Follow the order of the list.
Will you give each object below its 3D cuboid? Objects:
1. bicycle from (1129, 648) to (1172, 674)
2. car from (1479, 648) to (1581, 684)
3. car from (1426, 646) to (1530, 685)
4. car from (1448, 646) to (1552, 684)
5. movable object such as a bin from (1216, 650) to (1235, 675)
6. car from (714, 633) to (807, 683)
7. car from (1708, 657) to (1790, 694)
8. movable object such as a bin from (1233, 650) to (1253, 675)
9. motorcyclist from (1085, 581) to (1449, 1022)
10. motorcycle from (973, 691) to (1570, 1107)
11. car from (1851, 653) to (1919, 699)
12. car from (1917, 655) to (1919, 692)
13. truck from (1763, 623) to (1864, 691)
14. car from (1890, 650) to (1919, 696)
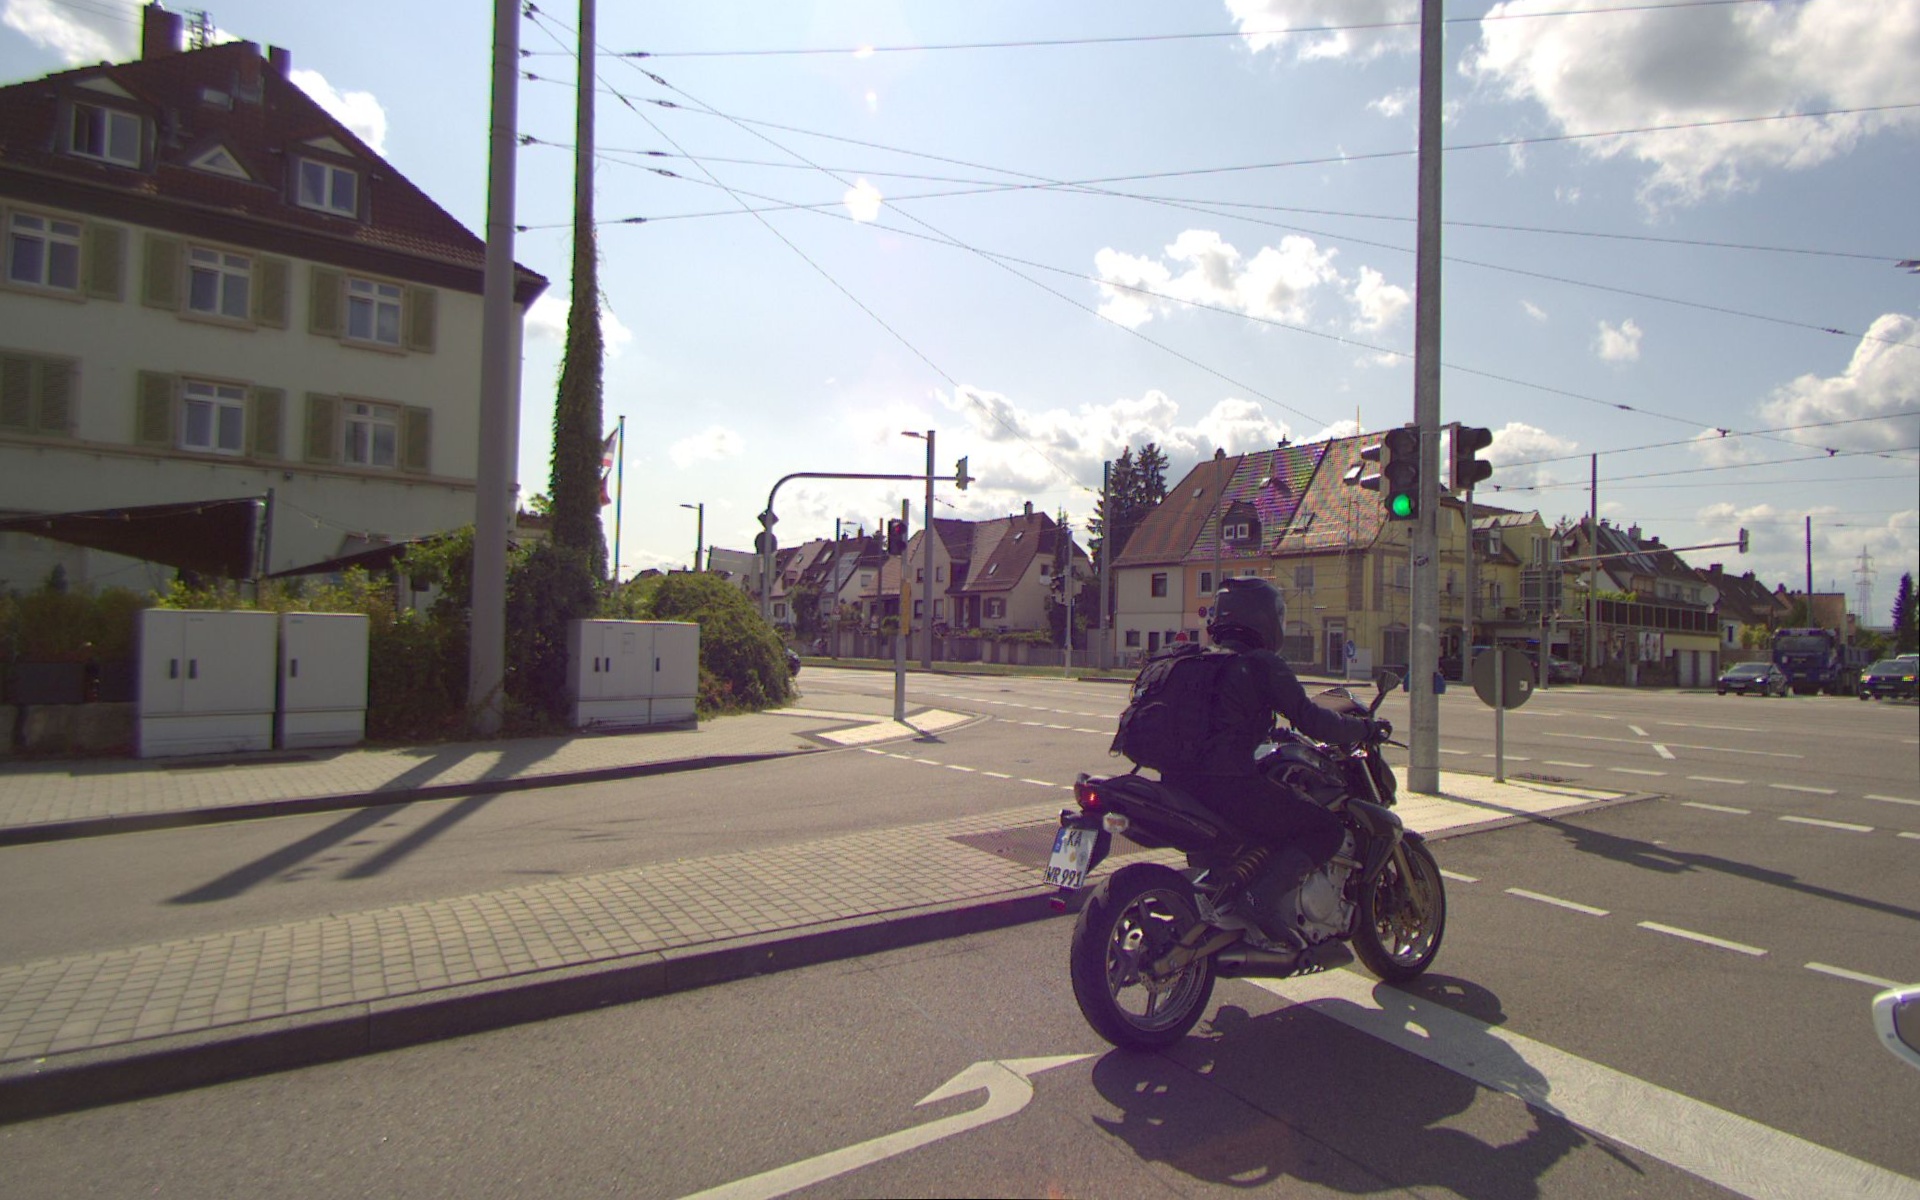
[{"bbox_3d":[10.671,3.425,56.176,2.430,1.373,0.770,2,-1,-31],"label":"bicycle"},{"bbox_3d":[27.926,3.204,49.328,1.423,1.513,4.101,3,-1,-39],"label":"car"},{"bbox_3d":[23.674,2.967,46.064,1.169,1.513,4.101,3,-1,-39],"label":"car"},{"bbox_3d":[25.679,3.067,47.866,1.494,1.513,4.101,3,-1,-39],"label":"car"},{"bbox_3d":[13.651,3.215,51.654,0.675,1.277,0.677,2,-1,-35],"label":"movable object such as a bin"},{"bbox_3d":[-7.006,1.993,35.005,1.730,1.604,3.886,3,-3,-35],"label":"car"},{"bbox_3d":[34.586,3.299,44.023,4.295,1.506,1.815,4,-3,-37],"label":"car"},{"bbox_3d":[14.756,3.265,52.376,0.675,1.277,0.677,2,-1,-35],"label":"movable object such as a bin"},{"bbox_3d":[1.161,0.641,3.847,1.087,1.417,0.819,-1,1,-29],"label":"motorcyclist"},{"bbox_3d":[1.268,0.958,3.887,2.330,1.142,0.837,2,-2,-29],"label":"motorcycle"},{"bbox_3d":[38.073,3.056,41.017,4.402,1.743,1.773,2,-3,-38],"label":"car"},{"bbox_3d":[49.151,3.707,50.004,4.370,1.805,1.718,4,-3,-40],"label":"car"},{"bbox_3d":[43.633,2.935,51.288,7.522,3.230,2.745,4,-3,-40],"label":"truck"},{"bbox_3d":[43.158,3.281,44.871,4.710,1.947,1.799,4,-3,-40],"label":"car"}]
